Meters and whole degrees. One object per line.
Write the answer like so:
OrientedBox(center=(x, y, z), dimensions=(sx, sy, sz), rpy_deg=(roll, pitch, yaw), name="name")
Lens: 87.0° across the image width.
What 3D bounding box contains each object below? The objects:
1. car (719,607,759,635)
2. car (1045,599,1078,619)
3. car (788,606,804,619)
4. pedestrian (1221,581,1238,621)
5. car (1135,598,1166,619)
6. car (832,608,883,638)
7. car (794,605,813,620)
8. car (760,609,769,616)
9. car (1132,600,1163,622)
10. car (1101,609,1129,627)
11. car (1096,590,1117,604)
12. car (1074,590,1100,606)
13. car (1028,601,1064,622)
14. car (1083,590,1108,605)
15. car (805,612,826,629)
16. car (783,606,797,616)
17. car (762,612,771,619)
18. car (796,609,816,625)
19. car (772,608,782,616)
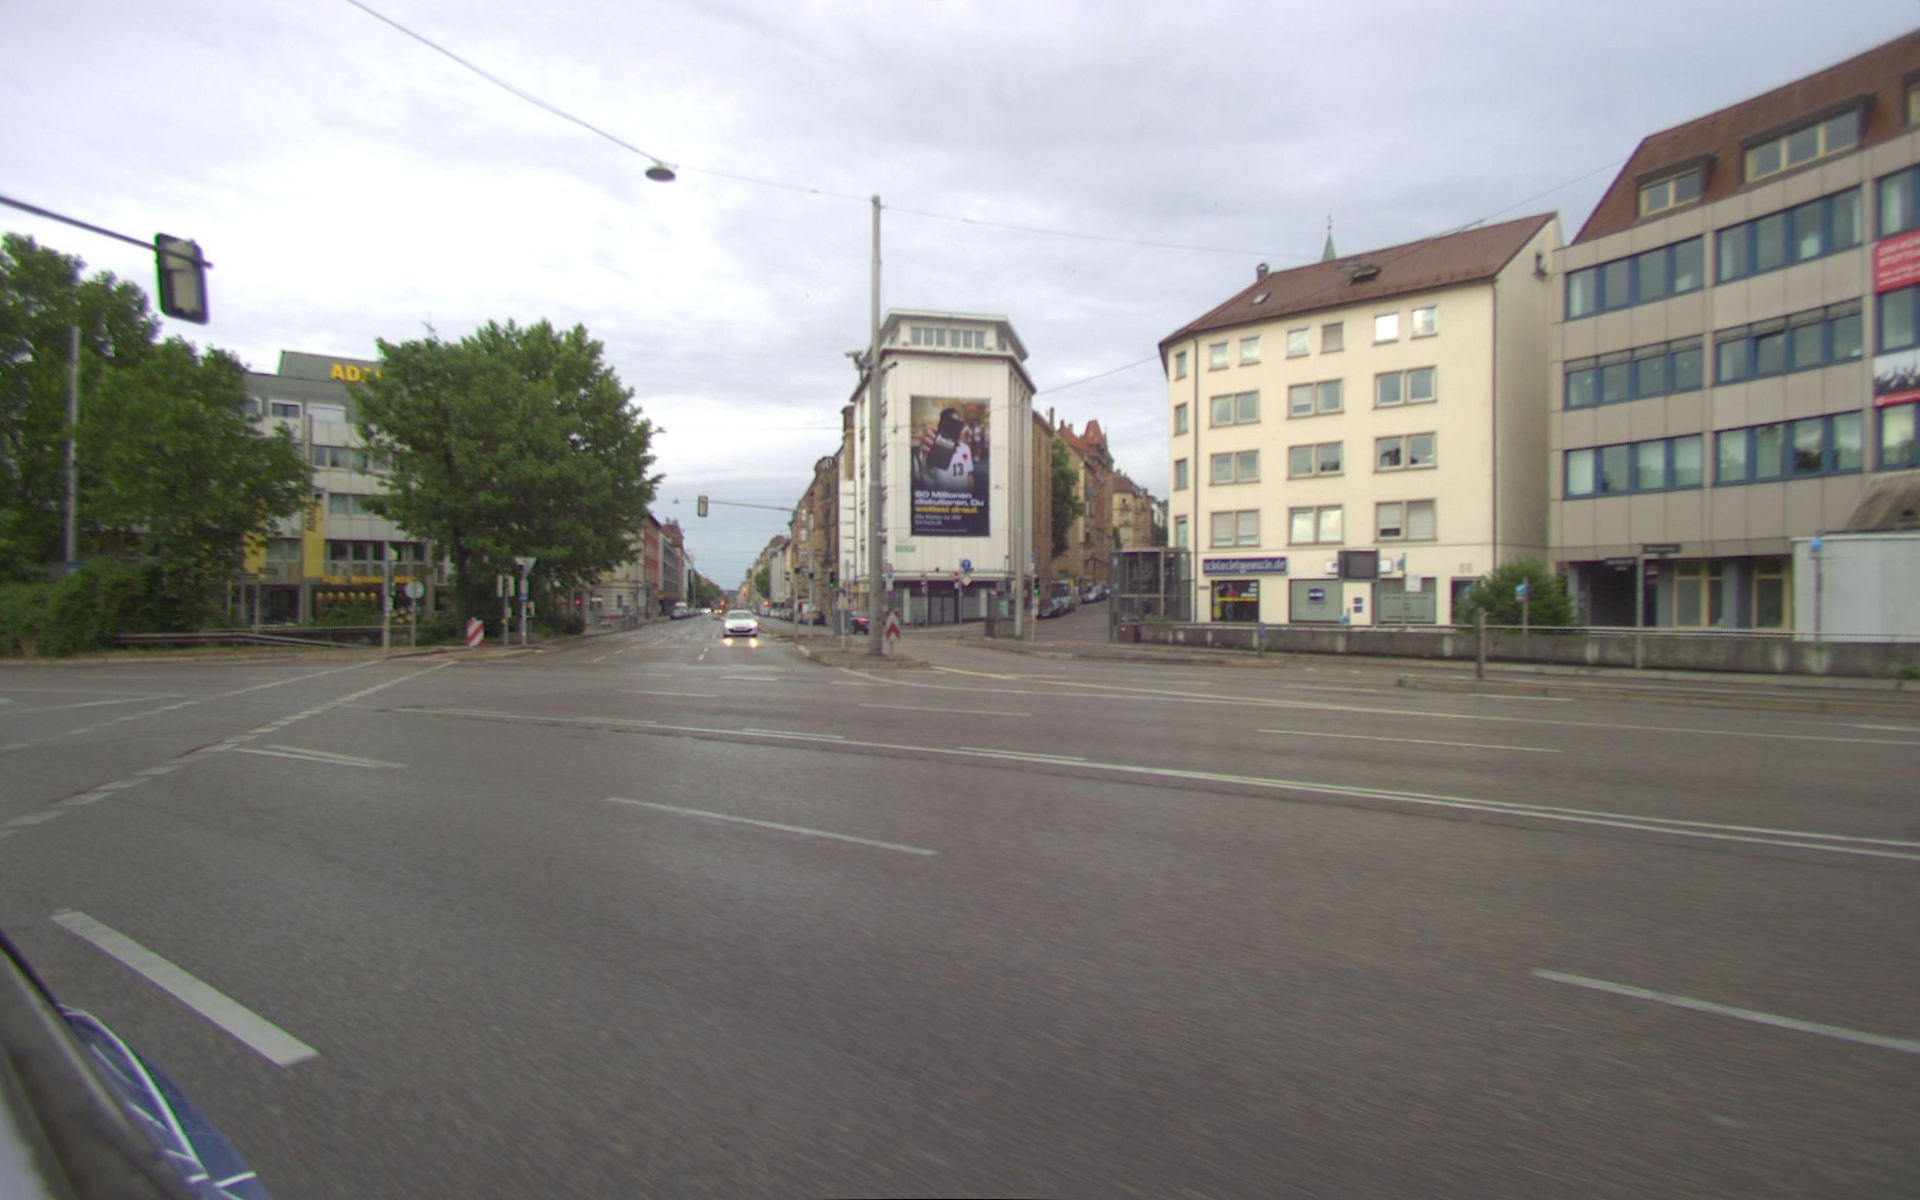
OrientedBox(center=(-11.892, 1.120, 54.328), dimensions=(1.967, 1.462, 4.240), rpy_deg=(1, -1, -14), name="car")
OrientedBox(center=(8.517, 0.779, 84.725), dimensions=(1.903, 1.603, 3.975), rpy_deg=(0, -1, 19), name="car")
OrientedBox(center=(-20.278, 1.586, 124.973), dimensions=(1.845, 1.589, 4.009), rpy_deg=(1, -1, -11), name="car")
OrientedBox(center=(13.653, 0.047, 51.311), dimensions=(0.676, 2.029, 0.560), rpy_deg=(0, -1, 38), name="pedestrian")
OrientedBox(center=(15.314, 0.709, 81.264), dimensions=(1.903, 1.603, 3.975), rpy_deg=(0, -1, 19), name="car")
OrientedBox(center=(-6.598, 1.435, 64.742), dimensions=(1.965, 1.857, 4.455), rpy_deg=(1, -1, -24), name="car")
OrientedBox(center=(-17.055, 1.394, 110.039), dimensions=(1.845, 1.589, 4.009), rpy_deg=(1, -1, -11), name="car")
OrientedBox(center=(-41.070, 2.605, 212.405), dimensions=(1.752, 1.331, 3.686), rpy_deg=(1, -1, -10), name="car")
OrientedBox(center=(13.901, 0.795, 74.993), dimensions=(1.747, 1.603, 3.774), rpy_deg=(0, -1, 19), name="car")
OrientedBox(center=(10.625, 1.227, 69.308), dimensions=(1.393, 1.239, 3.144), rpy_deg=(0, -1, 19), name="car")
OrientedBox(center=(17.702, -0.382, 122.118), dimensions=(1.903, 1.603, 3.975), rpy_deg=(0, -1, 19), name="car")
OrientedBox(center=(12.952, -0.167, 102.958), dimensions=(1.903, 1.603, 3.975), rpy_deg=(0, -1, 19), name="car")
OrientedBox(center=(6.721, 0.908, 78.749), dimensions=(1.903, 1.603, 3.975), rpy_deg=(0, -1, 19), name="car")
OrientedBox(center=(14.444, -0.284, 107.656), dimensions=(1.903, 1.602, 3.975), rpy_deg=(0, 0, 19), name="car")
OrientedBox(center=(-14.331, 2.000, 100.119), dimensions=(1.845, 1.589, 4.009), rpy_deg=(1, -1, -11), name="car")
OrientedBox(center=(-23.276, 1.543, 138.122), dimensions=(1.752, 1.331, 3.686), rpy_deg=(1, -1, -11), name="car")
OrientedBox(center=(-37.303, 2.895, 194.920), dimensions=(1.752, 1.331, 3.686), rpy_deg=(1, -1, -10), name="car")
OrientedBox(center=(-16.017, 1.769, 105.400), dimensions=(1.845, 1.589, 4.009), rpy_deg=(1, -1, -11), name="car")
OrientedBox(center=(-30.650, 2.000, 169.566), dimensions=(1.752, 1.331, 3.686), rpy_deg=(1, -1, -10), name="car")
